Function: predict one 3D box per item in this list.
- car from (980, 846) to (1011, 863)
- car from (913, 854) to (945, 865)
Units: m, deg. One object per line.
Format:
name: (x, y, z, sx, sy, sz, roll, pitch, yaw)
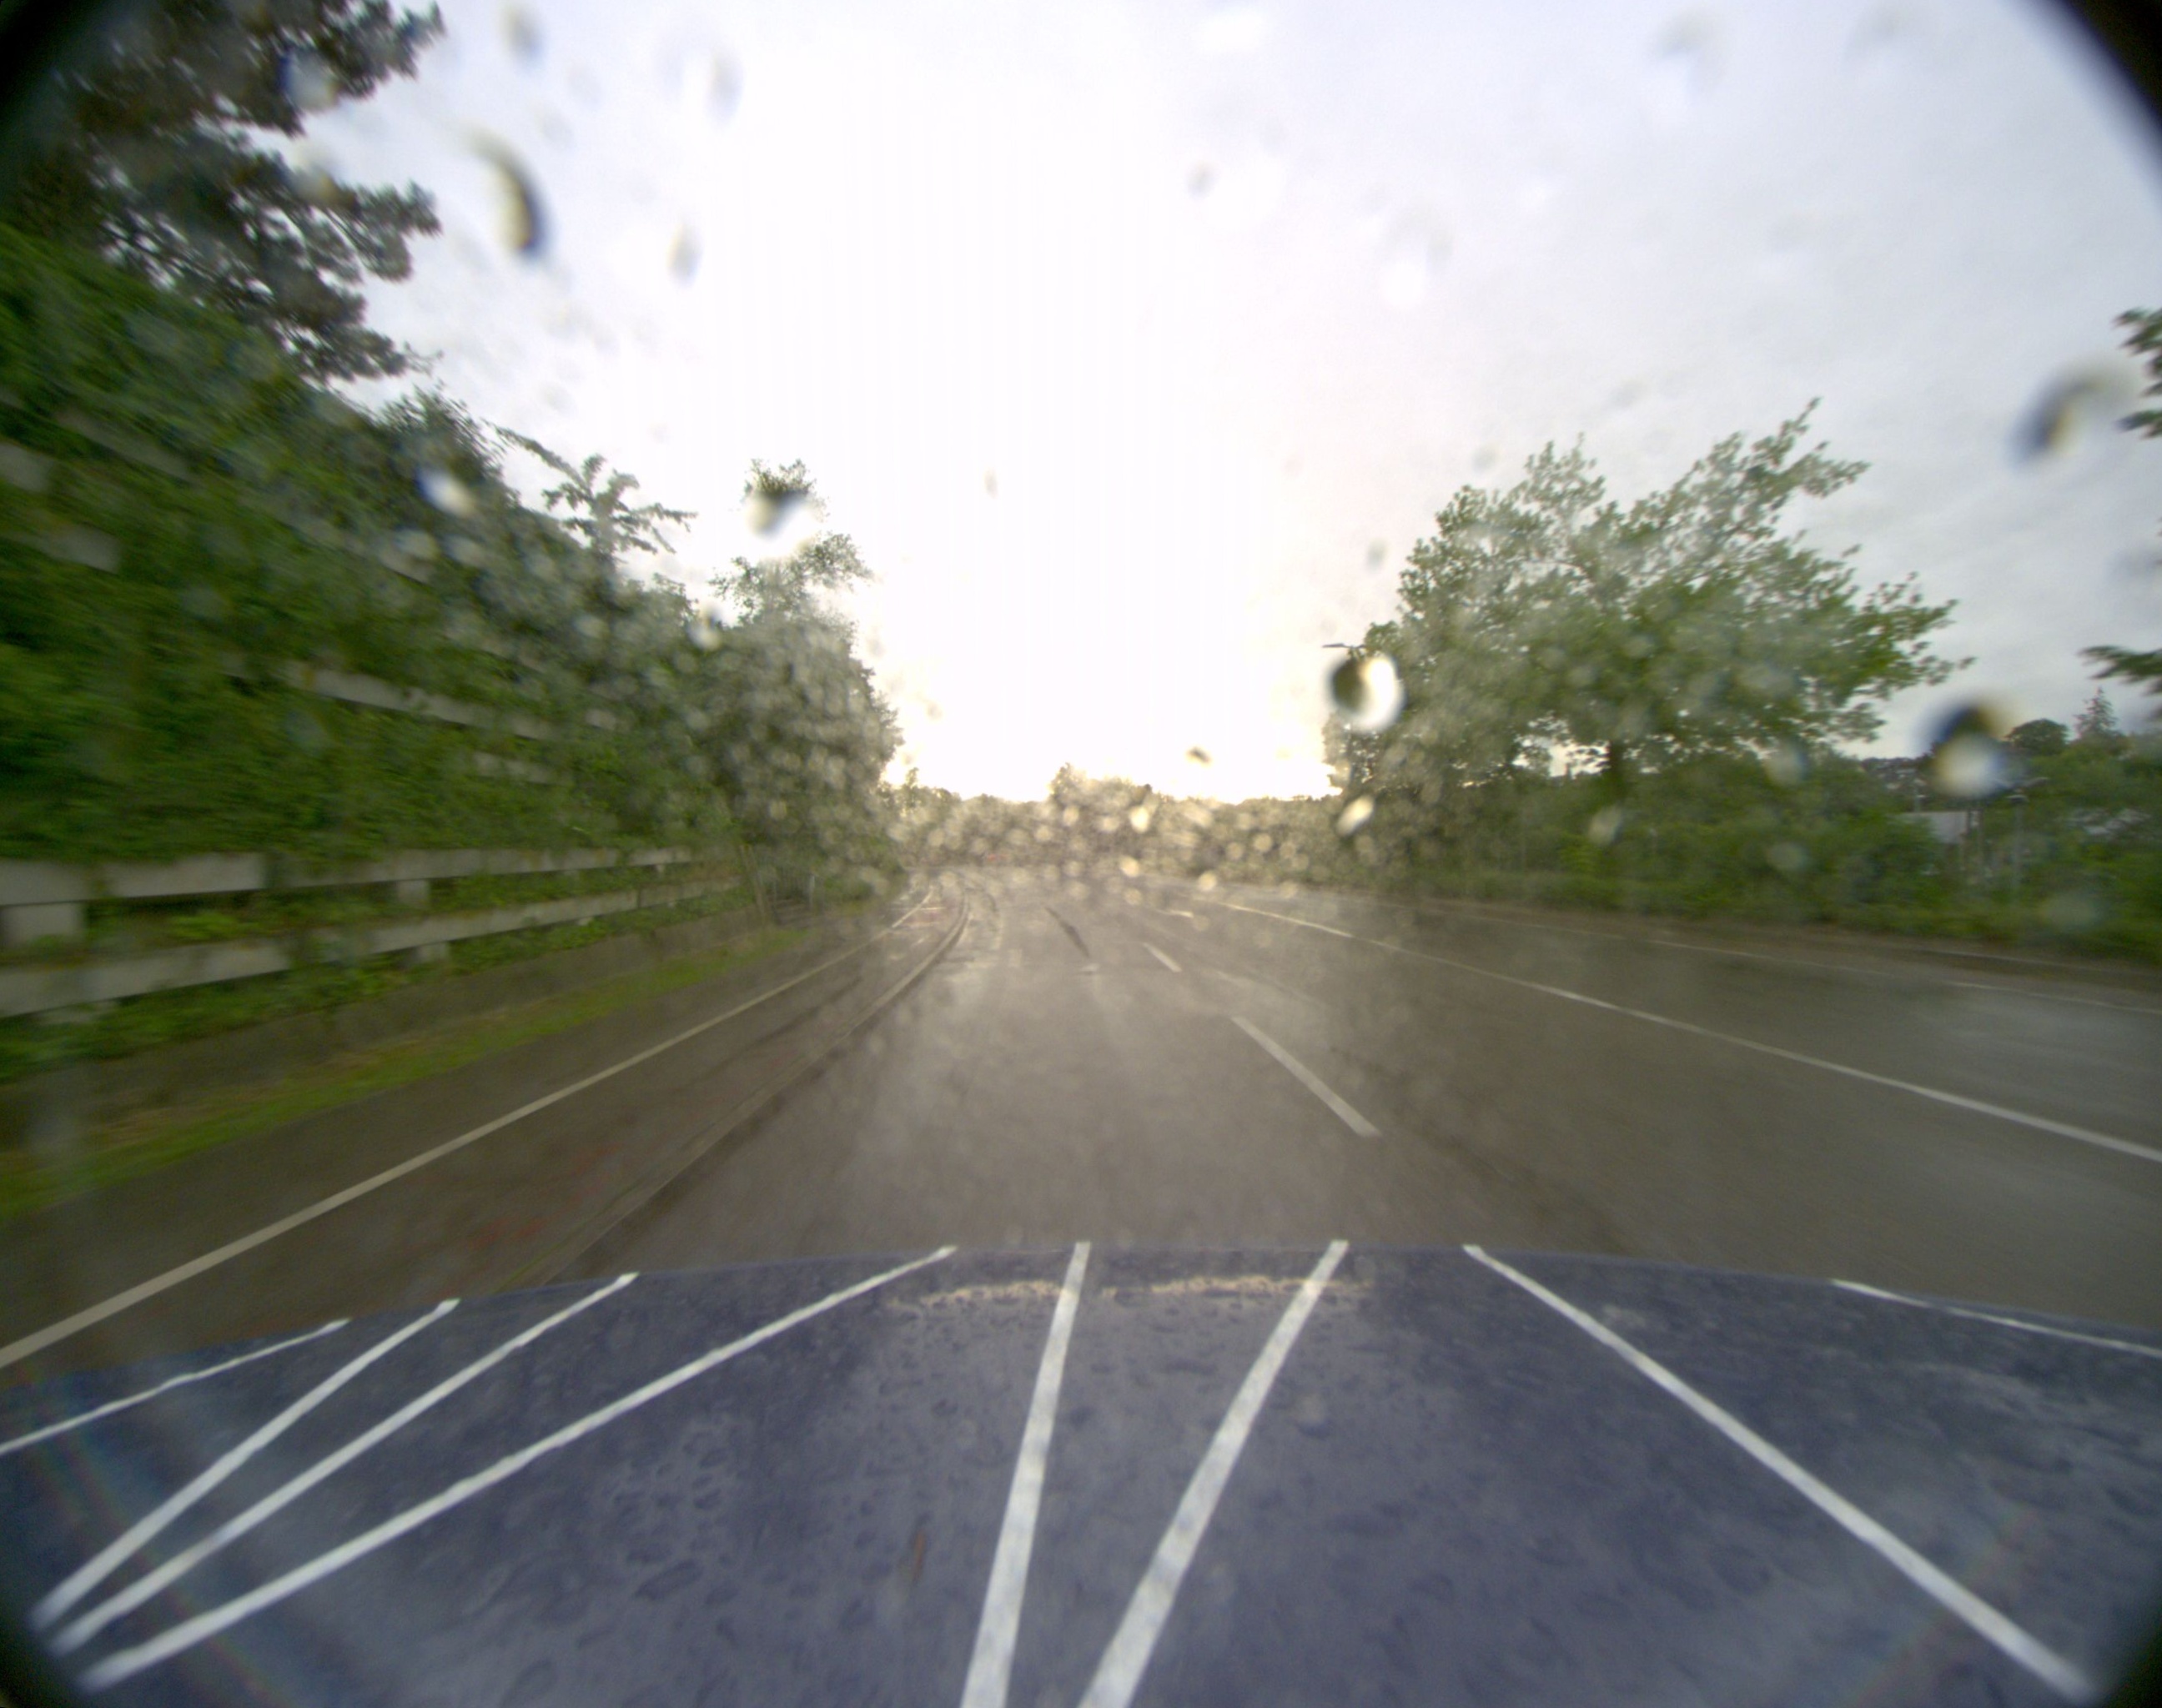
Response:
car: (-8.456, 0.075, 74.805, 1.762, 1.526, 3.992, -2, 0, -25)
car: (-21.097, 0.781, 105.566, 4.531, 1.453, 1.732, -2, 0, 38)
